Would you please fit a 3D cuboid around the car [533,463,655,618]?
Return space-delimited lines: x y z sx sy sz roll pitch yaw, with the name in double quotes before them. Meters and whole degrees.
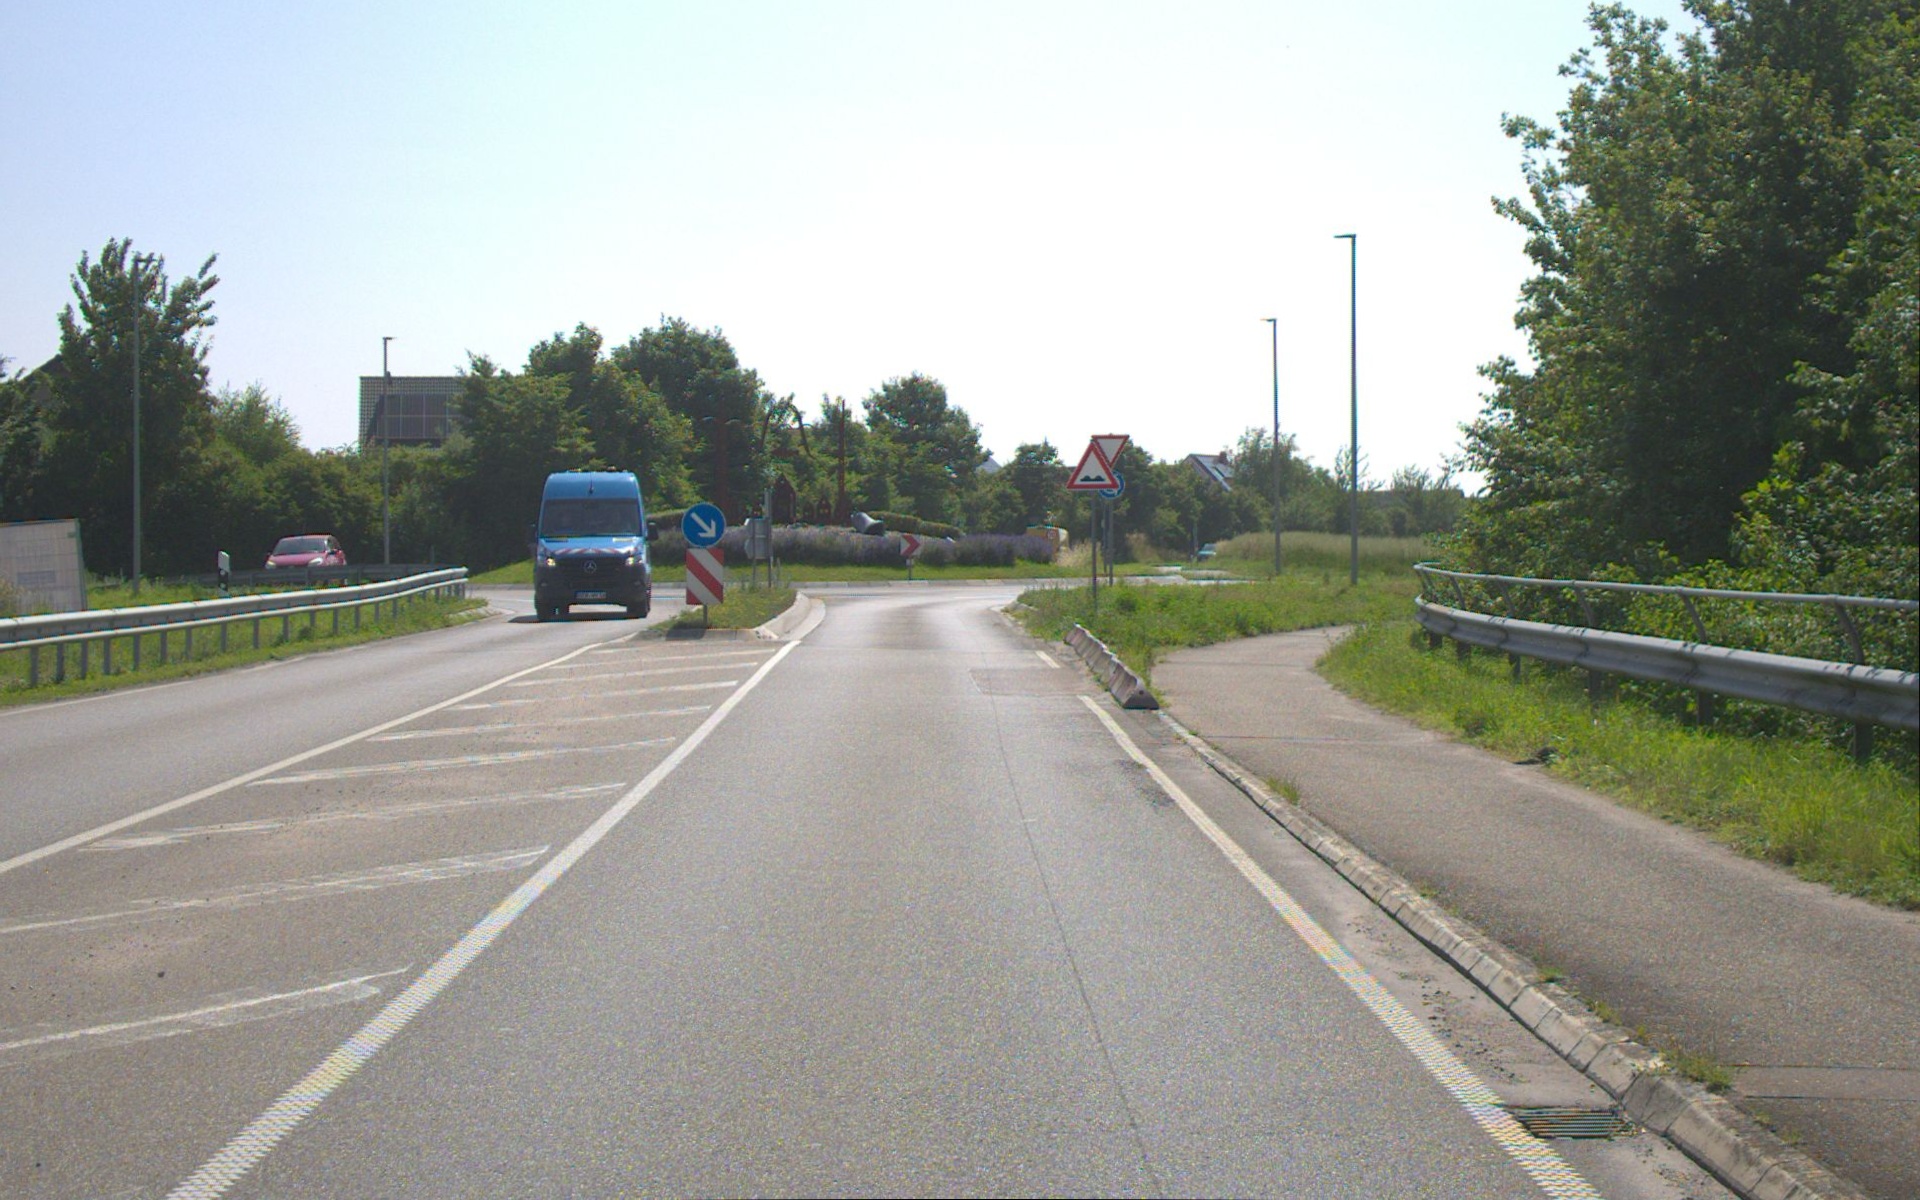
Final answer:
"car" -6.662 -1.089 62.724 1.993 2.602 7.292 -2 1 -6
